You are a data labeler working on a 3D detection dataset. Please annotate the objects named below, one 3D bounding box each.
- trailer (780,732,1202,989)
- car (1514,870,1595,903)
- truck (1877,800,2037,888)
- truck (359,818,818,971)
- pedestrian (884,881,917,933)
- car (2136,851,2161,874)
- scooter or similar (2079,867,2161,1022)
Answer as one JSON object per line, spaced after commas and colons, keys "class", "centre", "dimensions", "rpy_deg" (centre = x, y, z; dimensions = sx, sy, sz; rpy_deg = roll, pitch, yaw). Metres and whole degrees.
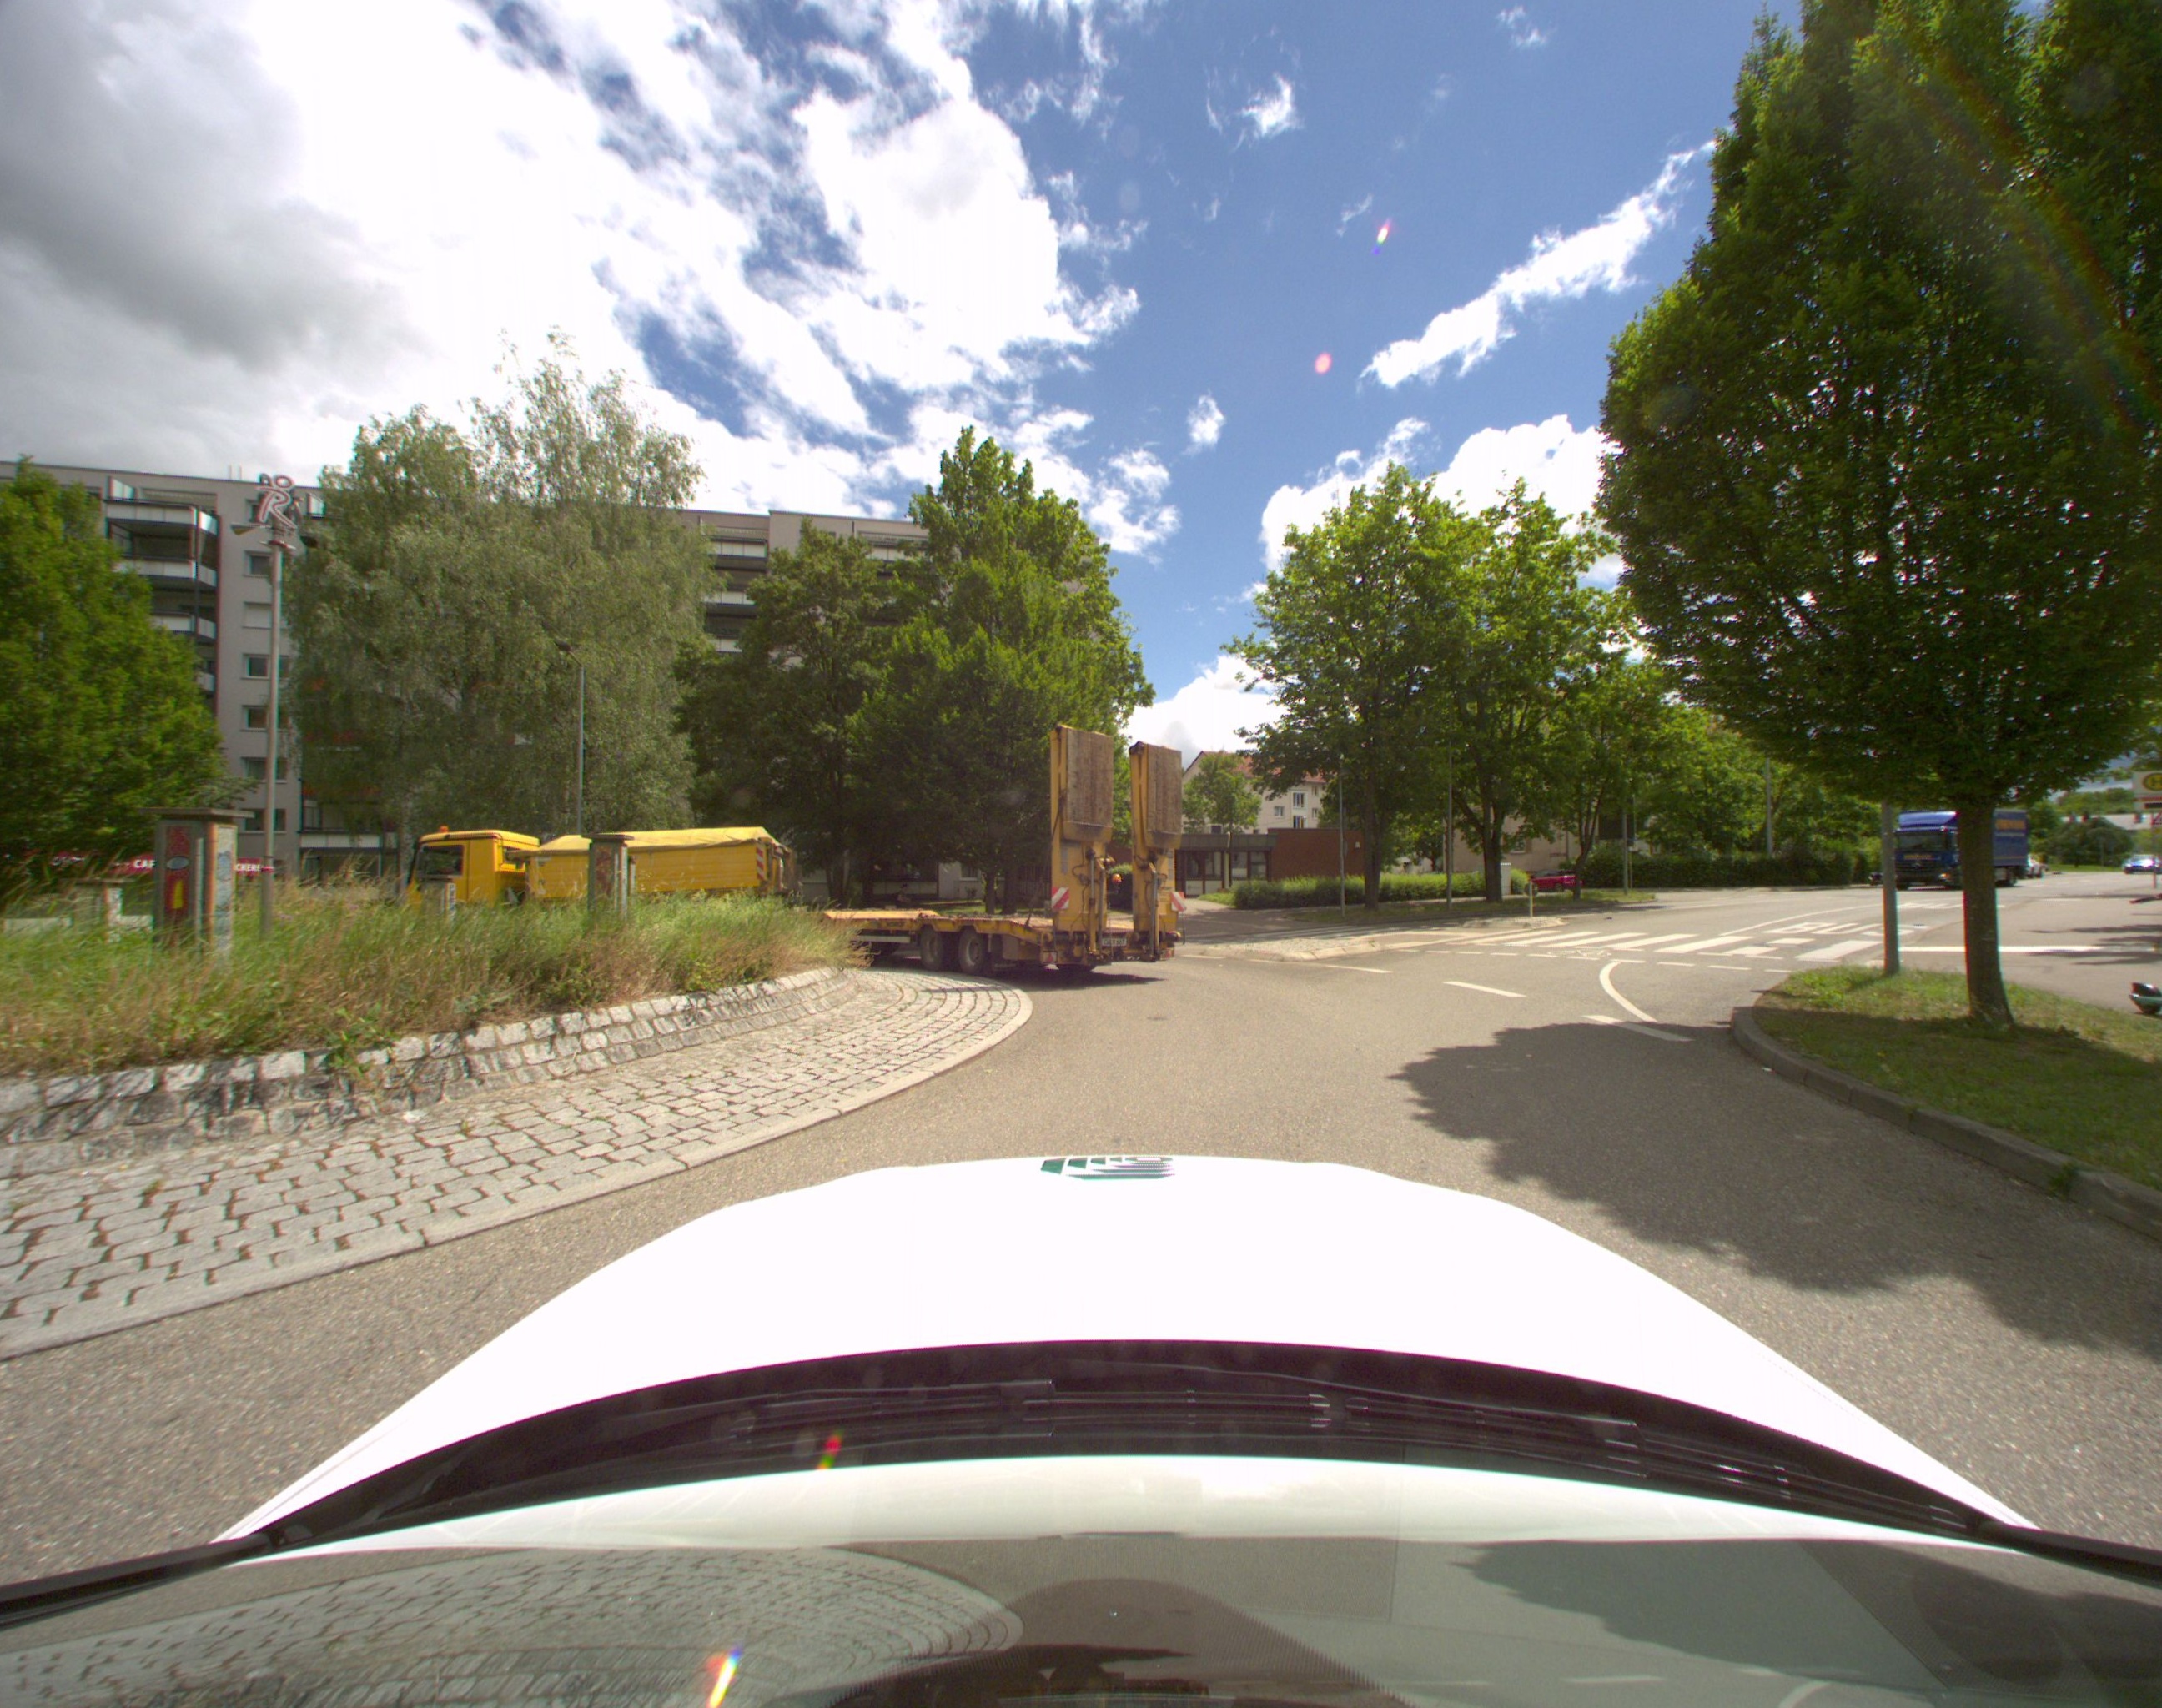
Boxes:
{"class": "trailer", "centre": [-2.597, 0.135, 15.793], "dimensions": [2.887, 3.373, 10.717], "rpy_deg": [1, -1, -38]}
{"class": "car", "centre": [29.752, 2.003, 51.249], "dimensions": [2.022, 1.942, 3.965], "rpy_deg": [1, -1, -26]}
{"class": "truck", "centre": [45.080, -0.411, 41.820], "dimensions": [9.815, 4.153, 2.766], "rpy_deg": [0, -2, -26]}
{"class": "truck", "centre": [-10.738, 0.838, 18.710], "dimensions": [8.452, 3.035, 2.989], "rpy_deg": [-1, -1, -8]}
{"class": "pedestrian", "centre": [-5.783, 1.685, 26.123], "dimensions": [0.841, 1.579, 0.716], "rpy_deg": [-4, -1, -21]}
{"class": "car", "centre": [86.760, 0.693, 65.285], "dimensions": [4.009, 1.781, 1.982], "rpy_deg": [1, -1, -28]}
{"class": "scooter or similar", "centre": [10.035, 0.817, 7.515], "dimensions": [0.480, 1.343, 1.397], "rpy_deg": [-2, 0, 27]}
